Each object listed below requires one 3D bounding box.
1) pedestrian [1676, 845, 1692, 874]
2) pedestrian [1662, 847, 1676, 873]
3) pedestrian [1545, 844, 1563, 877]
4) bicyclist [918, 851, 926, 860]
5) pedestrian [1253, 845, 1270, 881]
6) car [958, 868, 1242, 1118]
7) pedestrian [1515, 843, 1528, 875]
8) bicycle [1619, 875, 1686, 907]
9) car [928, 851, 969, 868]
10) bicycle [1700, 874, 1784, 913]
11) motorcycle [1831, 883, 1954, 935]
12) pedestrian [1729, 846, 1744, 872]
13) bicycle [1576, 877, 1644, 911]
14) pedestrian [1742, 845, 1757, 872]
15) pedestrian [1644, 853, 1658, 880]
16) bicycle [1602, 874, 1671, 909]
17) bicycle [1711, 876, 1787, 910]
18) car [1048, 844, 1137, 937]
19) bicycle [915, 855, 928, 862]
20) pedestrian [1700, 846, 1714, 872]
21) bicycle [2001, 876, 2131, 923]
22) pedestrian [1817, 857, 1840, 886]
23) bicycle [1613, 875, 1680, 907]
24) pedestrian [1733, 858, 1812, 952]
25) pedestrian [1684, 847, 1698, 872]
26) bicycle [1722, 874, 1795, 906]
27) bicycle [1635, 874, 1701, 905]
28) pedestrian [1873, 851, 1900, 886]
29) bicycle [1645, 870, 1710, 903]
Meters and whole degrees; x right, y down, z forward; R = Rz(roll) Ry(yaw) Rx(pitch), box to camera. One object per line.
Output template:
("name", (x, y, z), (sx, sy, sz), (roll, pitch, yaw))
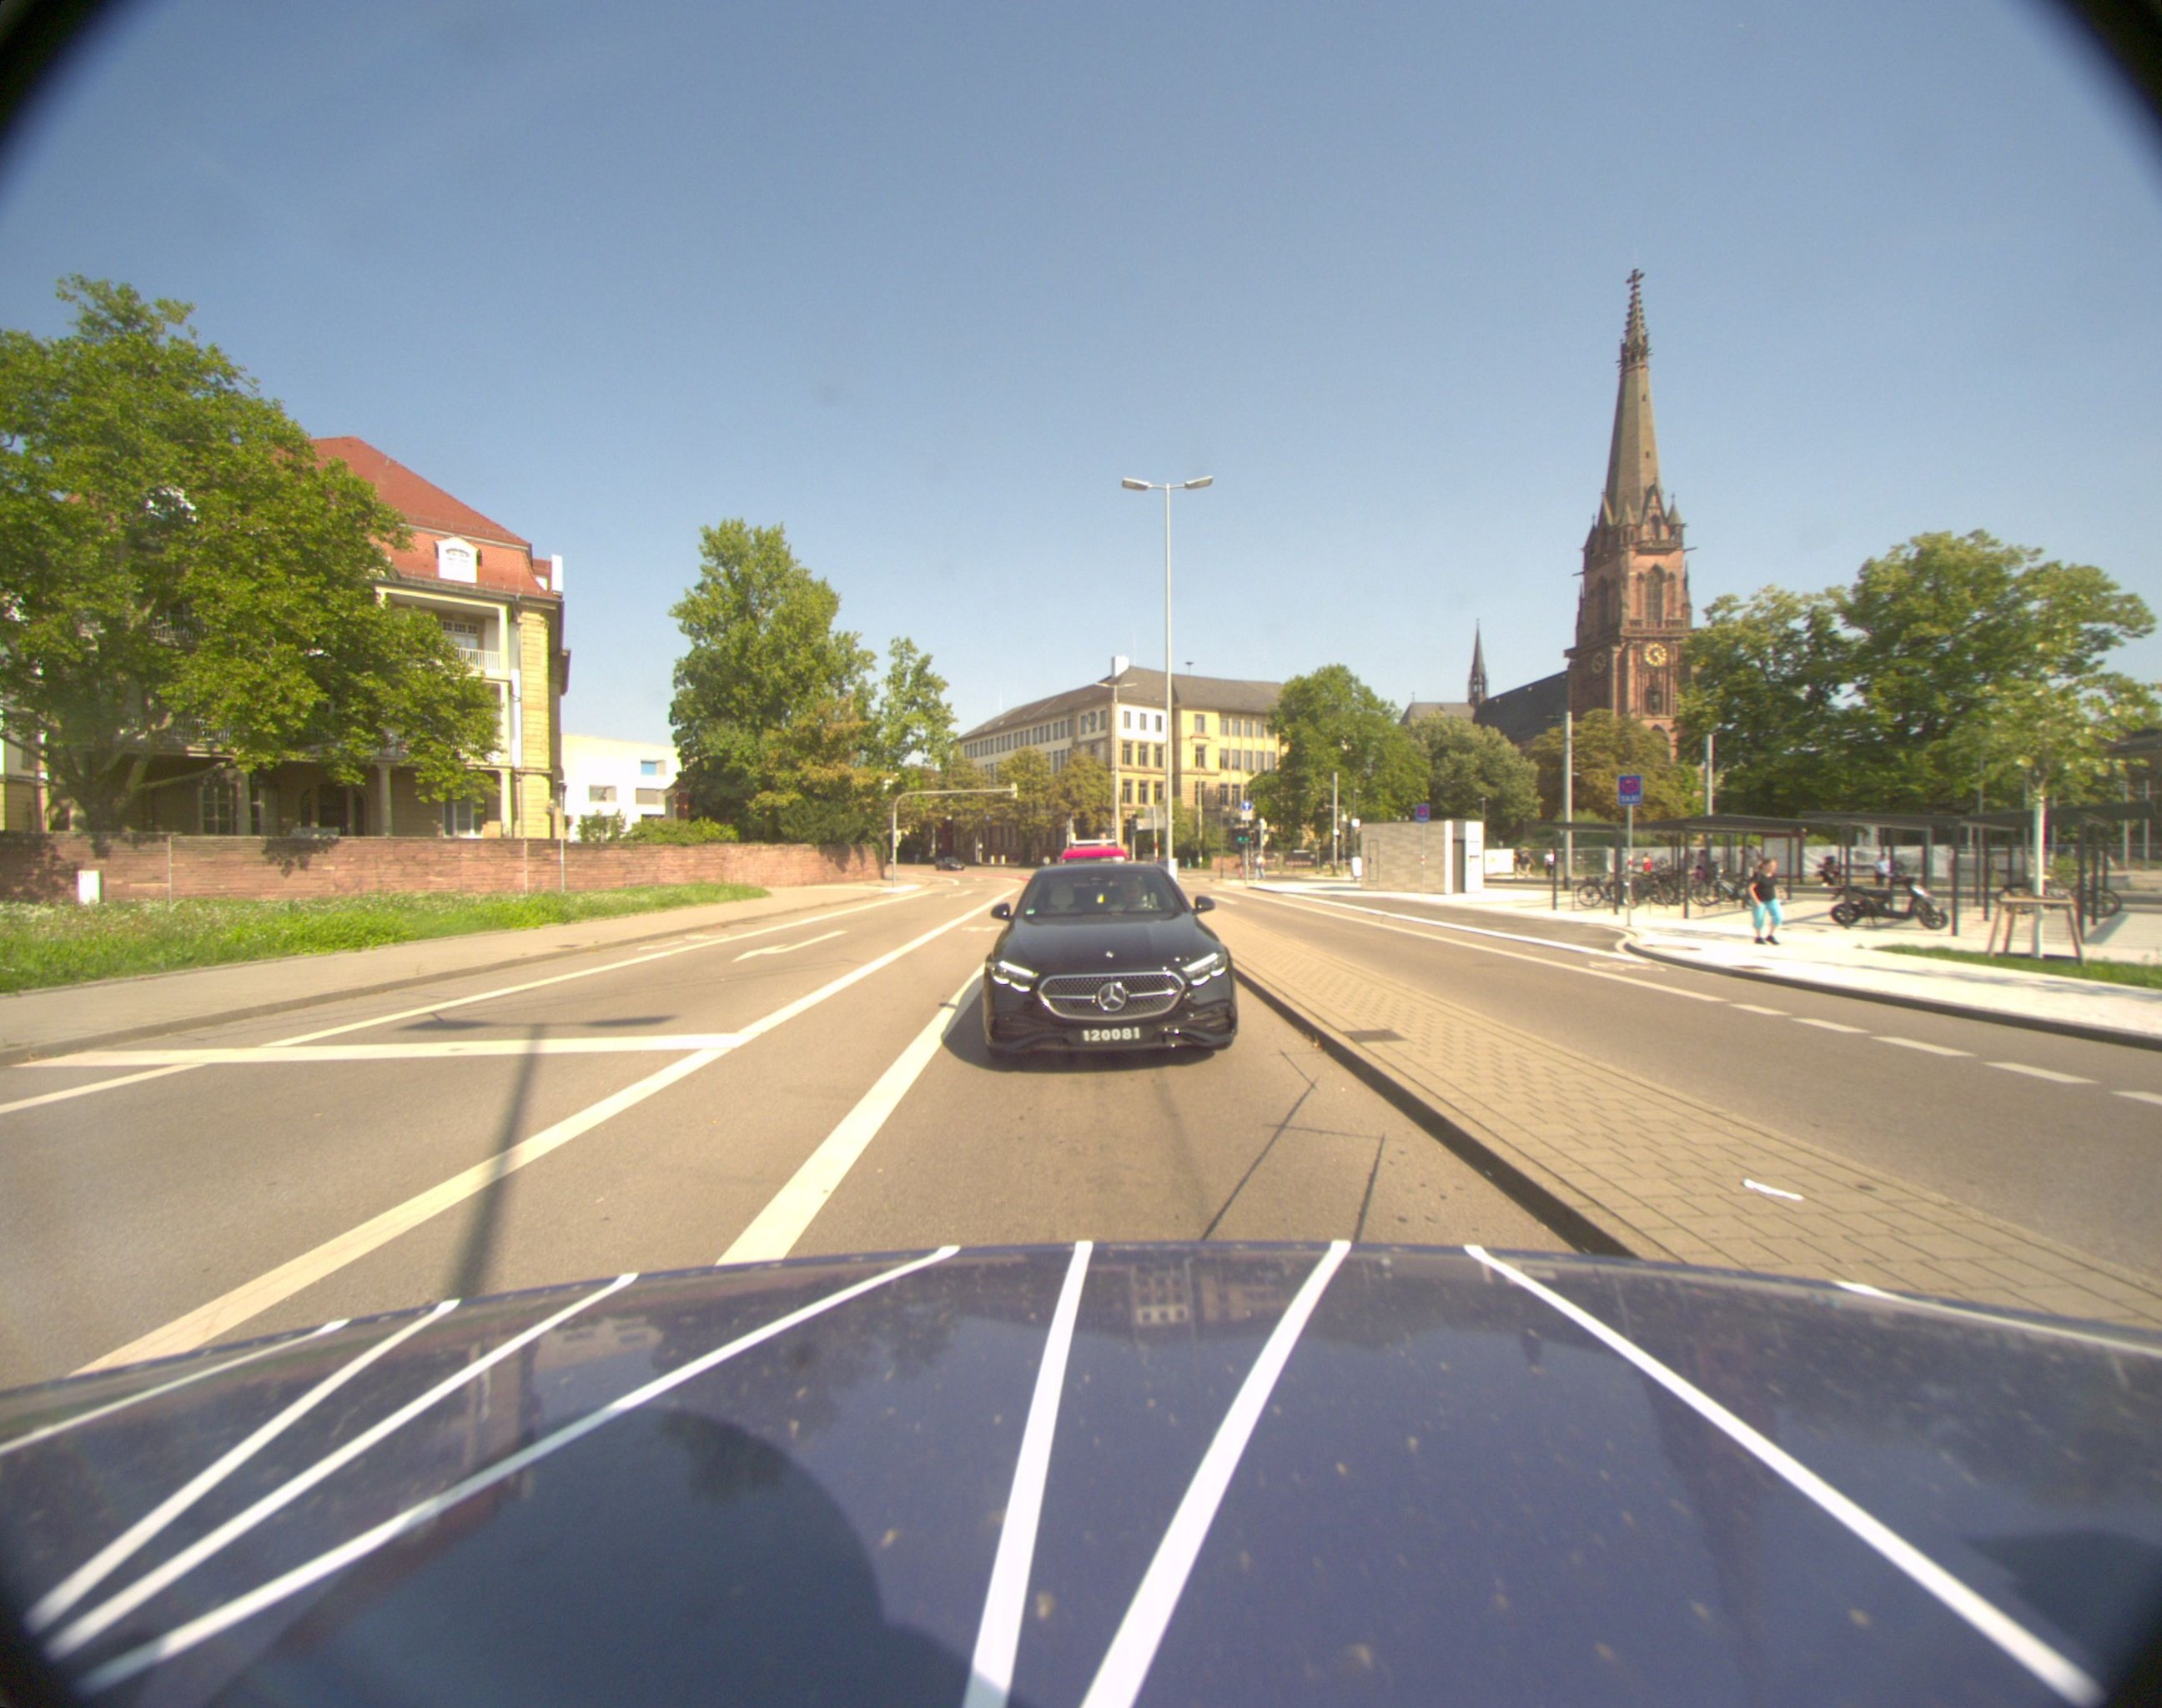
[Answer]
("pedestrian", (28.450, 0.264, 35.859), (0.440, 1.310, 0.434), (-3, 1, -32))
("pedestrian", (28.836, 0.292, 37.252), (0.440, 1.217, 0.382), (-3, 1, -32))
("pedestrian", (25.266, 0.336, 40.621), (0.716, 1.738, 0.389), (0, 1, -2))
("bicyclist", (-23.041, 0.199, 109.881), (0.922, 1.332, 0.668), (1, 1, 43))
("pedestrian", (9.998, 0.484, 42.135), (0.731, 2.002, 0.715), (1, 1, 34))
("car", (0.203, 0.943, 7.332), (1.824, 1.432, 4.873), (0, 1, 2))
("pedestrian", (23.621, 0.252, 40.719), (0.517, 1.697, 0.504), (1, 2, 24))
("bicycle", (17.491, 1.117, 23.279), (0.411, 0.887, 1.584), (-1, 1, -33))
("car", (-13.519, 0.611, 77.479), (2.004, 1.600, 4.235), (-2, 0, -45))
("bicycle", (18.691, 1.099, 21.511), (0.534, 0.981, 1.709), (-1, 1, -33))
("motorcycle", (17.617, 1.170, 16.536), (0.544, 1.003, 1.741), (-1, 1, -33))
("pedestrian", (30.737, 0.226, 35.632), (0.440, 1.217, 0.382), (-3, 1, -32))
("bicycle", (15.236, 1.144, 21.914), (0.402, 0.887, 1.584), (-1, 1, -33))
("pedestrian", (31.015, 0.218, 35.240), (0.440, 1.217, 0.382), (-3, 1, -32))
("pedestrian", (28.303, 0.602, 37.713), (0.394, 1.310, 0.414), (-3, 1, -29))
("bicycle", (16.434, 1.094, 22.508), (0.422, 0.962, 1.584), (-1, 1, -33))
("bicycle", (19.412, 1.128, 22.112), (0.411, 0.887, 1.584), (-1, 1, -33))
("car", (0.309, 0.695, 16.905), (1.736, 1.808, 4.278), (0, 1, 2))
("bicycle", (-23.062, 0.593, 109.919), (2.081, 0.951, 0.668), (0, 1, 43))
("pedestrian", (29.957, 0.247, 36.379), (0.440, 1.217, 0.382), (-3, 1, -32))
("bicycle", (23.788, 1.073, 18.395), (0.462, 1.003, 1.870), (-1, 1, -33))
("pedestrian", (31.297, 0.728, 31.801), (0.468, 1.190, 0.572), (-1, 1, -33))
("bicycle", (17.047, 1.092, 22.942), (0.402, 0.887, 1.584), (-1, 1, -33))
("pedestrian", (11.869, 0.856, 13.056), (0.754, 1.556, 0.666), (1, 1, -17))
("pedestrian", (29.667, 0.258, 36.926), (0.440, 1.217, 0.382), (-3, 1, -32))
("bicycle", (20.551, 1.088, 23.067), (0.411, 0.887, 1.584), (-1, 1, -33))
("bicycle", (18.440, 1.112, 23.888), (0.402, 0.887, 1.584), (-1, 1, -33))
("pedestrian", (32.165, 0.577, 30.335), (0.663, 1.387, 0.642), (-1, 1, -36))
("bicycle", (19.364, 1.041, 24.696), (0.453, 0.972, 1.584), (-3, 2, -33))
